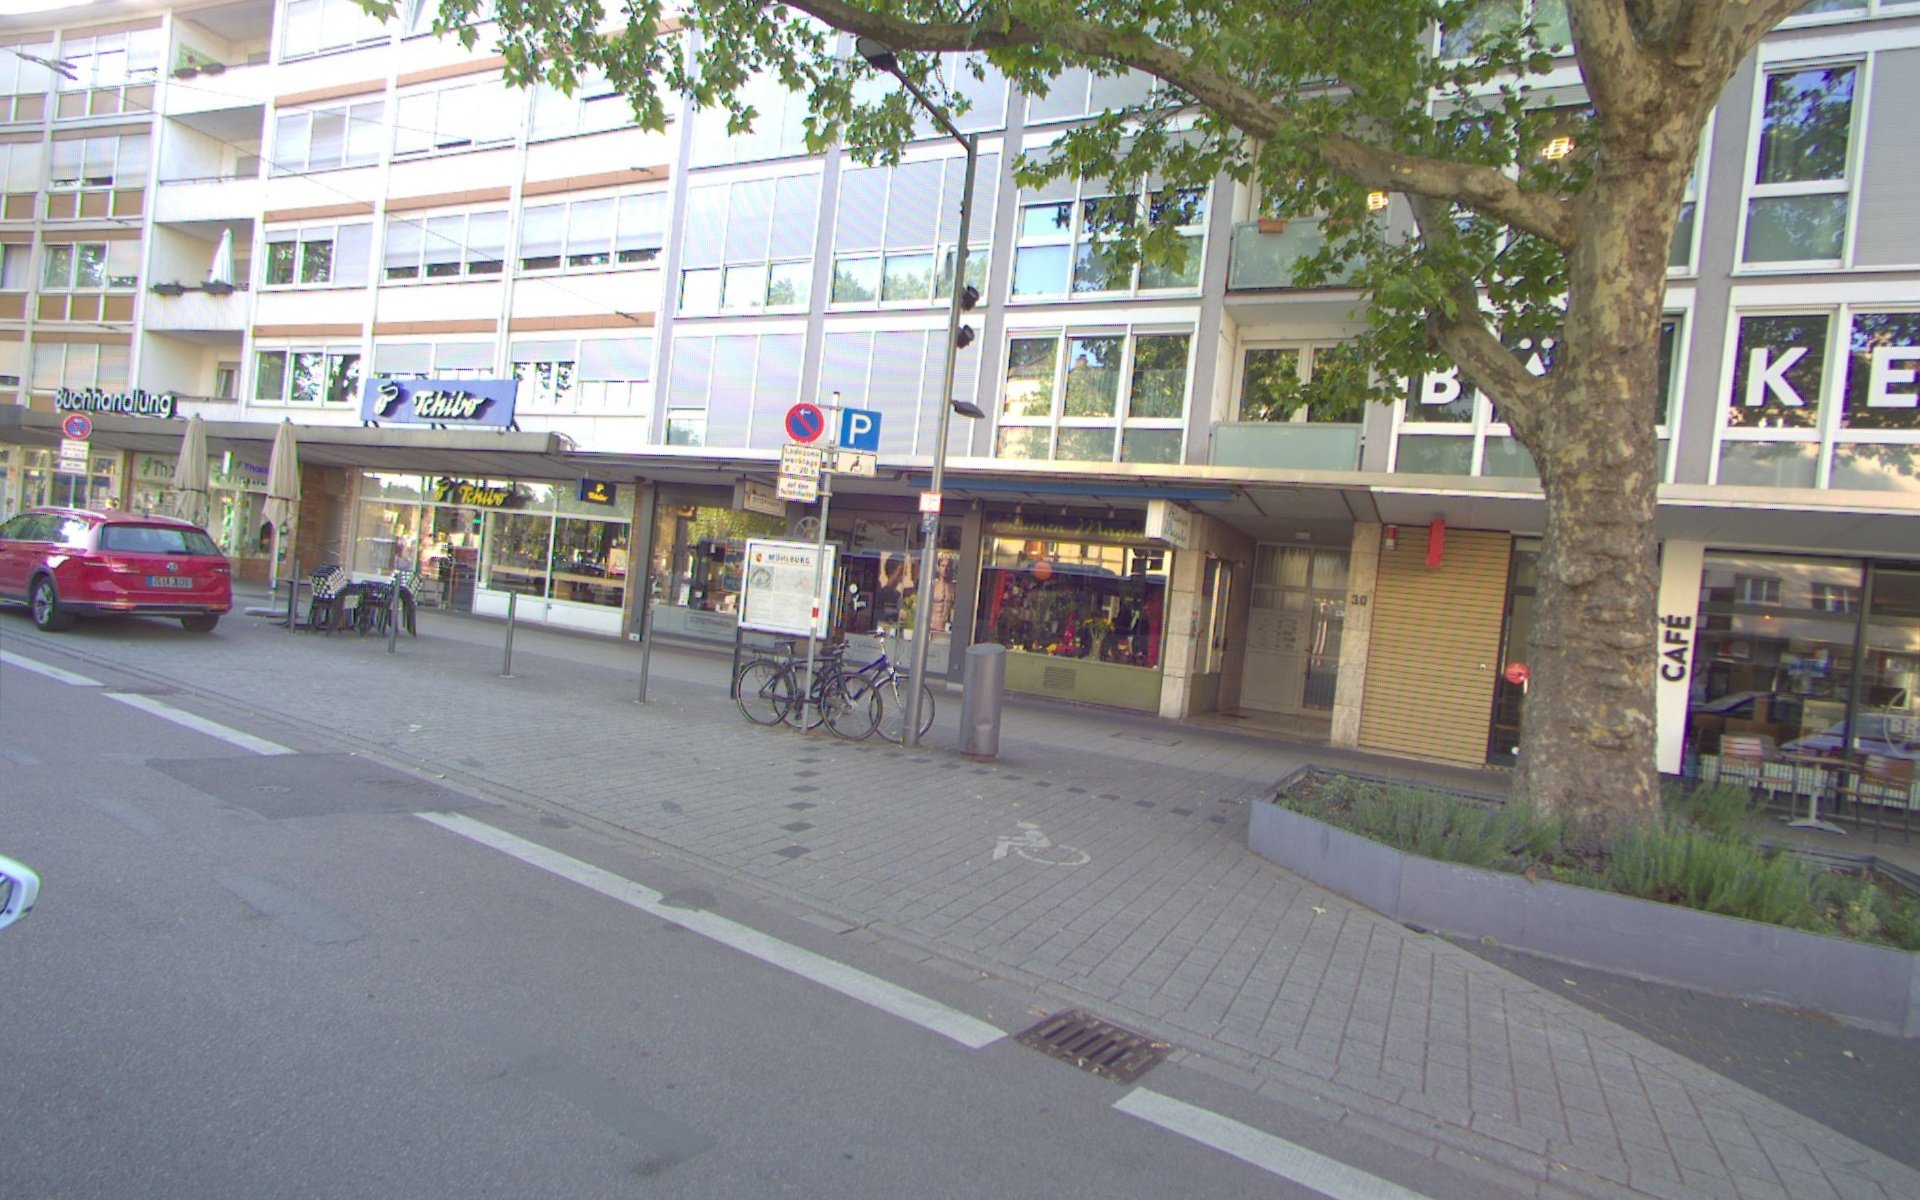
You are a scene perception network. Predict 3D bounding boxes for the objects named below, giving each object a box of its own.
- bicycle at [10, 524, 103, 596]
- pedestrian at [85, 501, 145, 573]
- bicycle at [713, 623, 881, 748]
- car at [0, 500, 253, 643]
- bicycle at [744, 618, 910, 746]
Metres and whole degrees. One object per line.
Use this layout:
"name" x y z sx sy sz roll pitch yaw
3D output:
"bicycle" -15.731 -0.702 17.507 1.631 1.085 0.512 6 3 22
"pedestrian" -19.987 -1.476 23.801 0.792 1.571 0.641 6 1 18
"bicycle" -1.695 0.860 10.381 1.686 1.055 0.294 6 4 17
"car" -11.701 -0.452 13.463 4.488 1.516 1.780 6 2 28
"bicycle" -1.408 0.836 10.587 1.686 1.116 0.294 6 4 17
